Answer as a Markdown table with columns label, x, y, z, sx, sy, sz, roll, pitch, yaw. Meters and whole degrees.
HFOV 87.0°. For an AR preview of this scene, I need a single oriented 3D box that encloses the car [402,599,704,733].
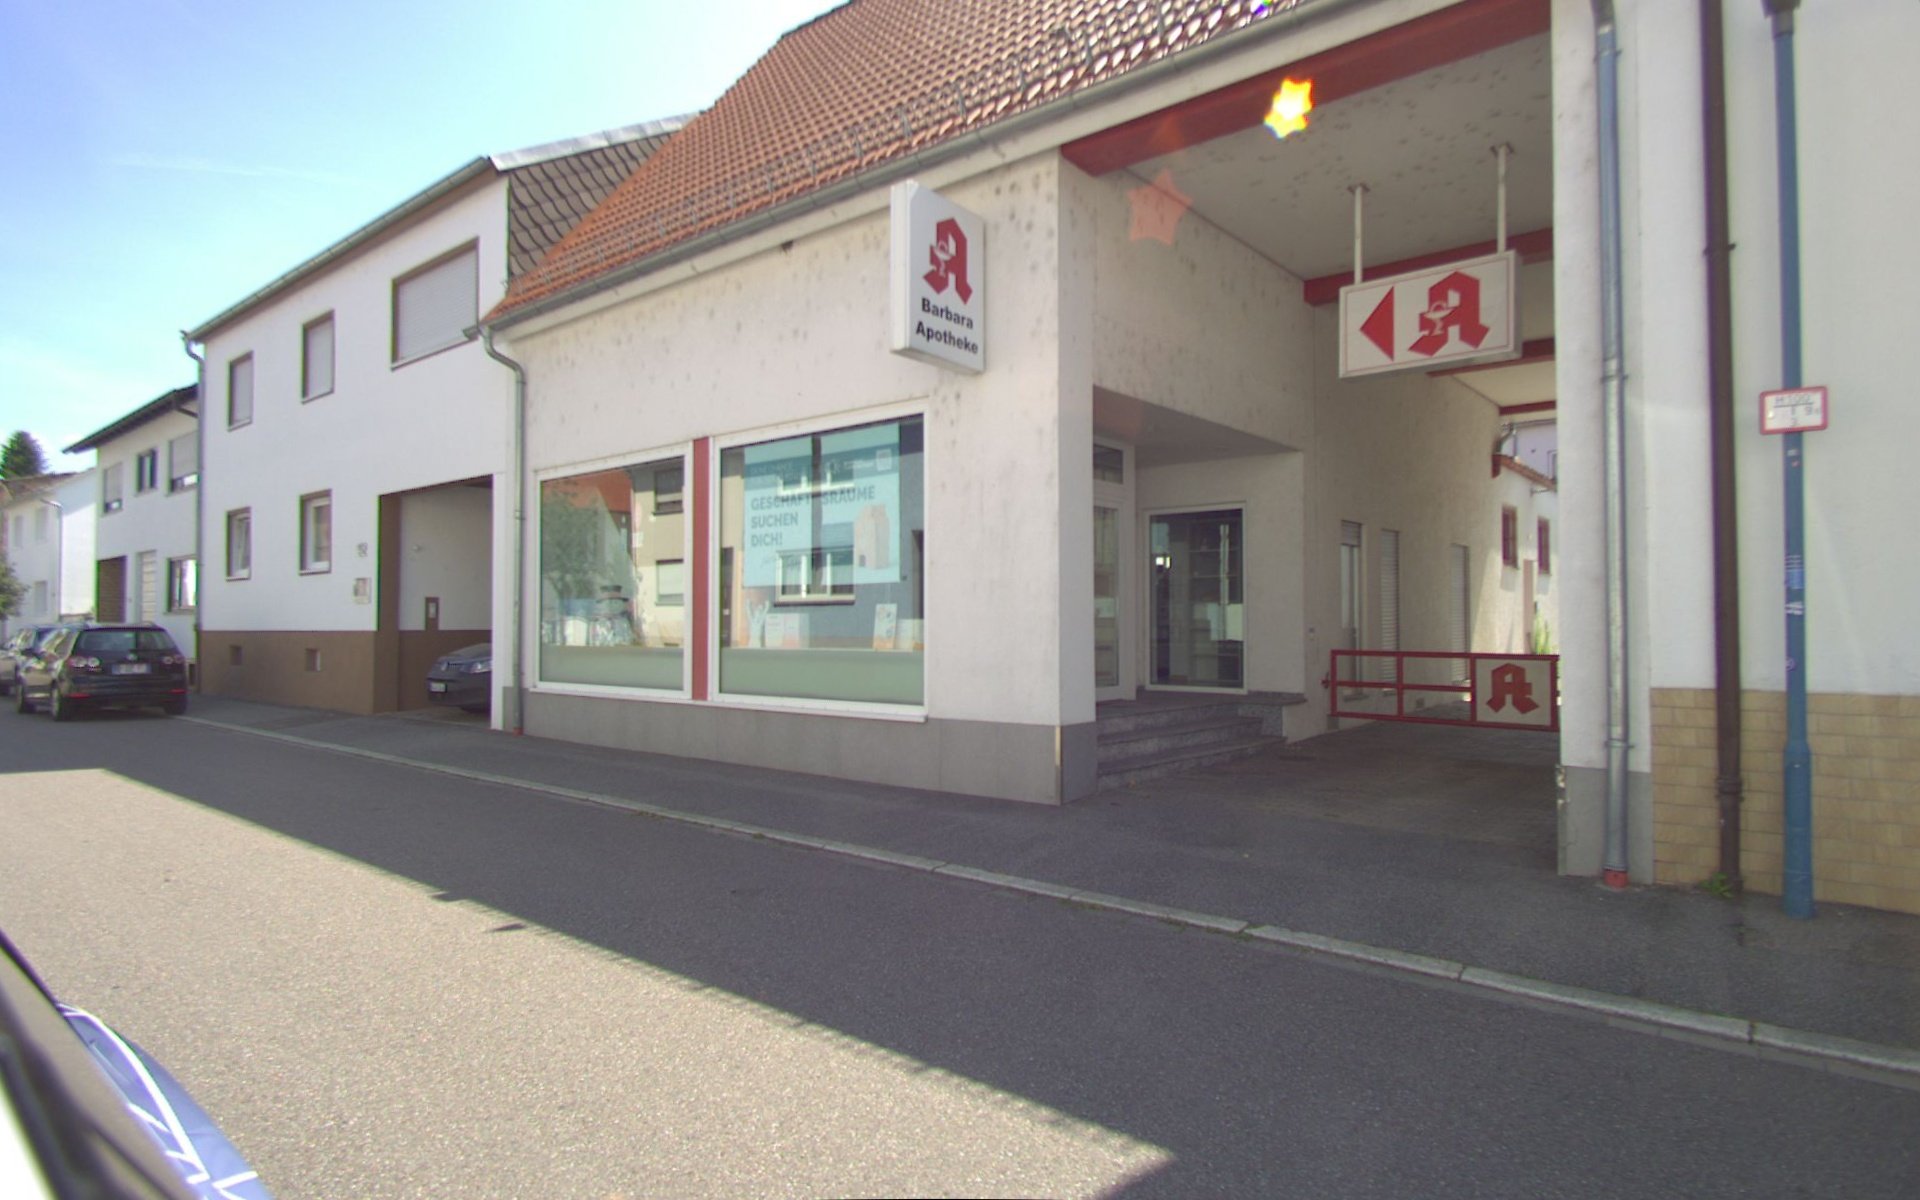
| label | x | y | z | sx | sy | sz | roll | pitch | yaw |
| --- | --- | --- | --- | --- | --- | --- | --- | --- | --- |
| car | -6.165 | 0.908 | 15.669 | 1.813 | 1.731 | 3.946 | -2 | 0 | 40 |

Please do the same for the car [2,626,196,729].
| label | x | y | z | sx | sy | sz | roll | pitch | yaw |
| --- | --- | --- | --- | --- | --- | --- | --- | --- | --- |
| car | -14.814 | 1.250 | 17.351 | 3.949 | 1.578 | 1.731 | -2 | -2 | 38 |

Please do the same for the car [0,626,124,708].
| label | x | y | z | sx | sy | sz | roll | pitch | yaw |
| --- | --- | --- | --- | --- | --- | --- | --- | --- | --- |
| car | -19.858 | 1.397 | 22.056 | 4.116 | 1.630 | 1.737 | -2 | -3 | 39 |
